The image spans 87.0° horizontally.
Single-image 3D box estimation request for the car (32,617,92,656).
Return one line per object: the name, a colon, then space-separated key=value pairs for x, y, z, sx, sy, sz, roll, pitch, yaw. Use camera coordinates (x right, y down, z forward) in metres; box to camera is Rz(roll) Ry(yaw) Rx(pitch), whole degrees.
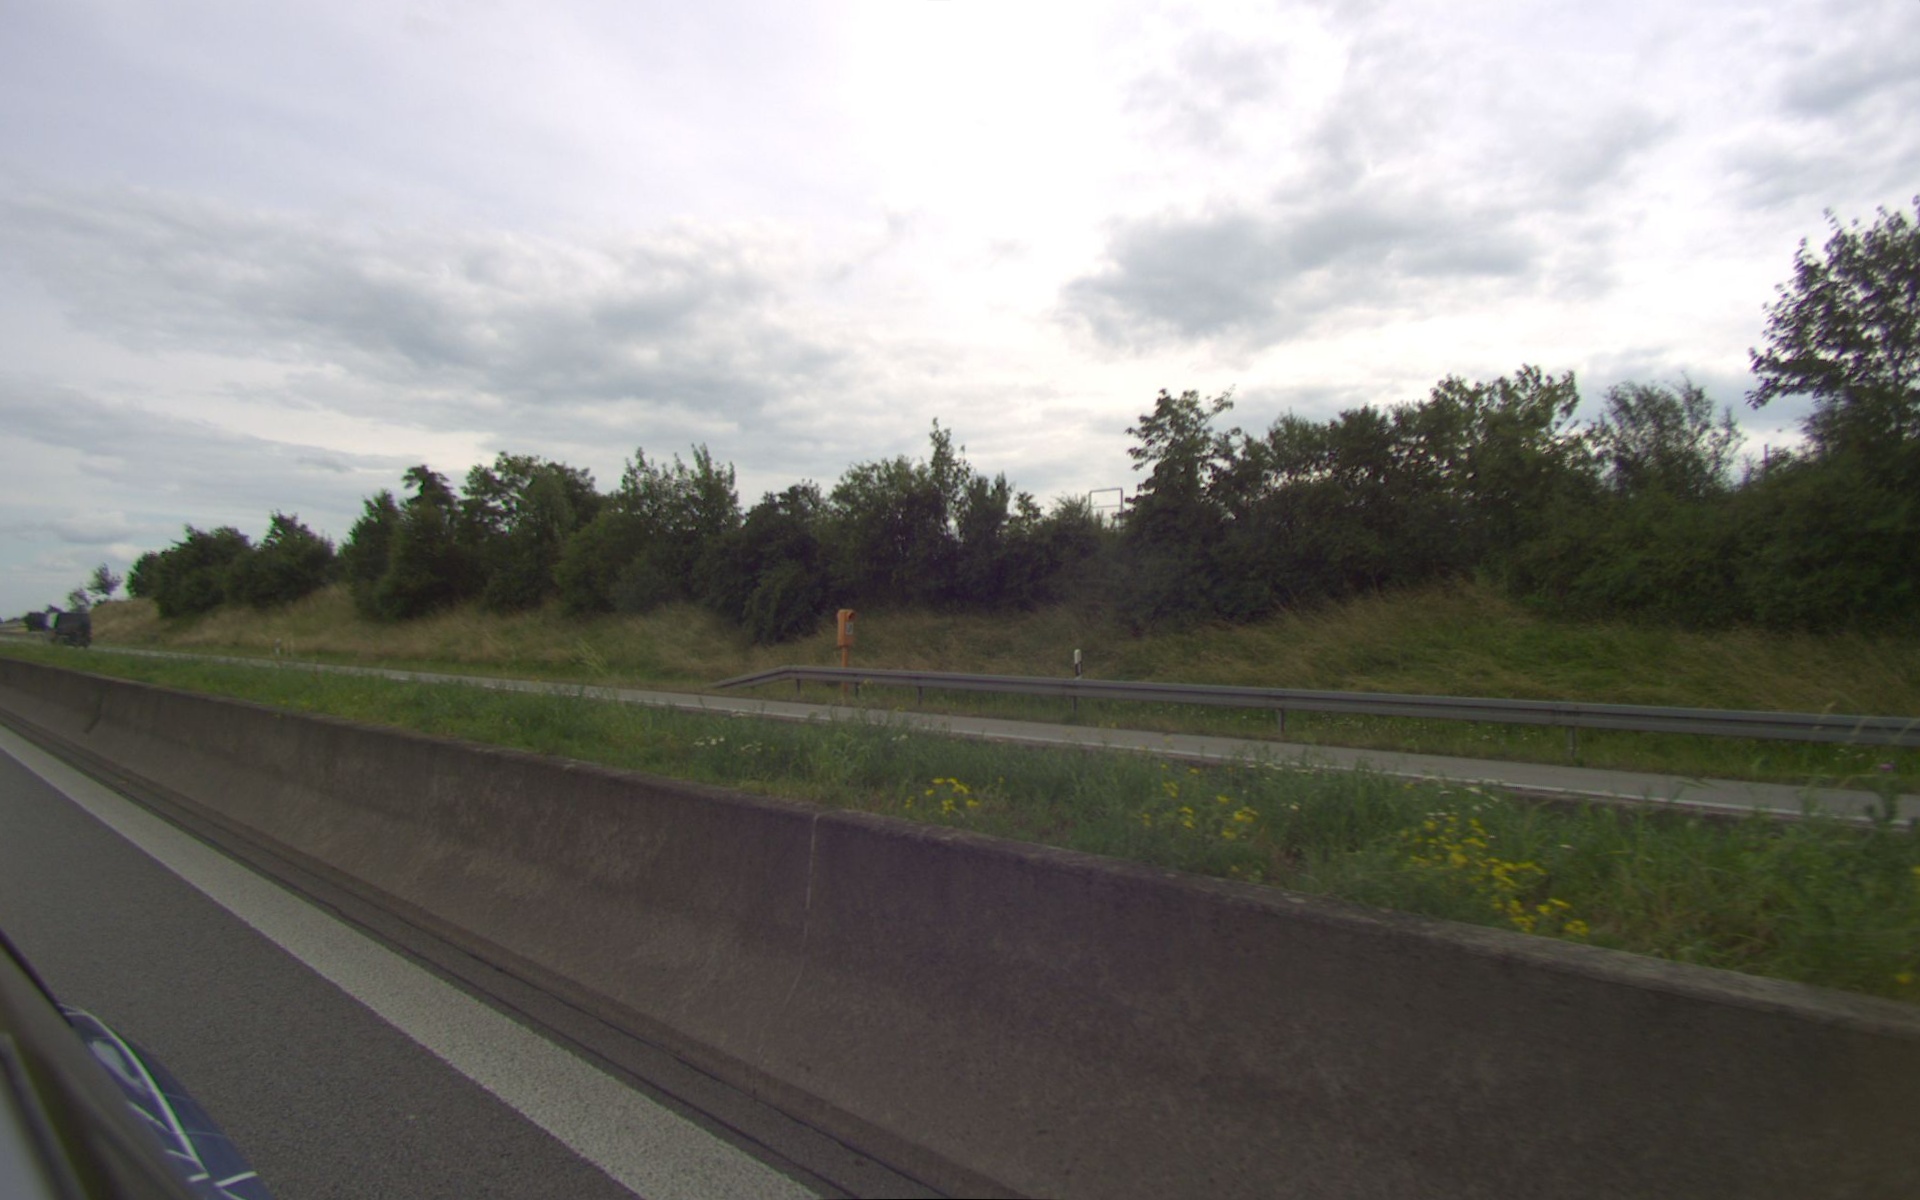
car: x=-61.647 y=2.495 z=69.429 sx=6.720 sy=2.484 sz=2.147 roll=-1 pitch=-4 yaw=42
